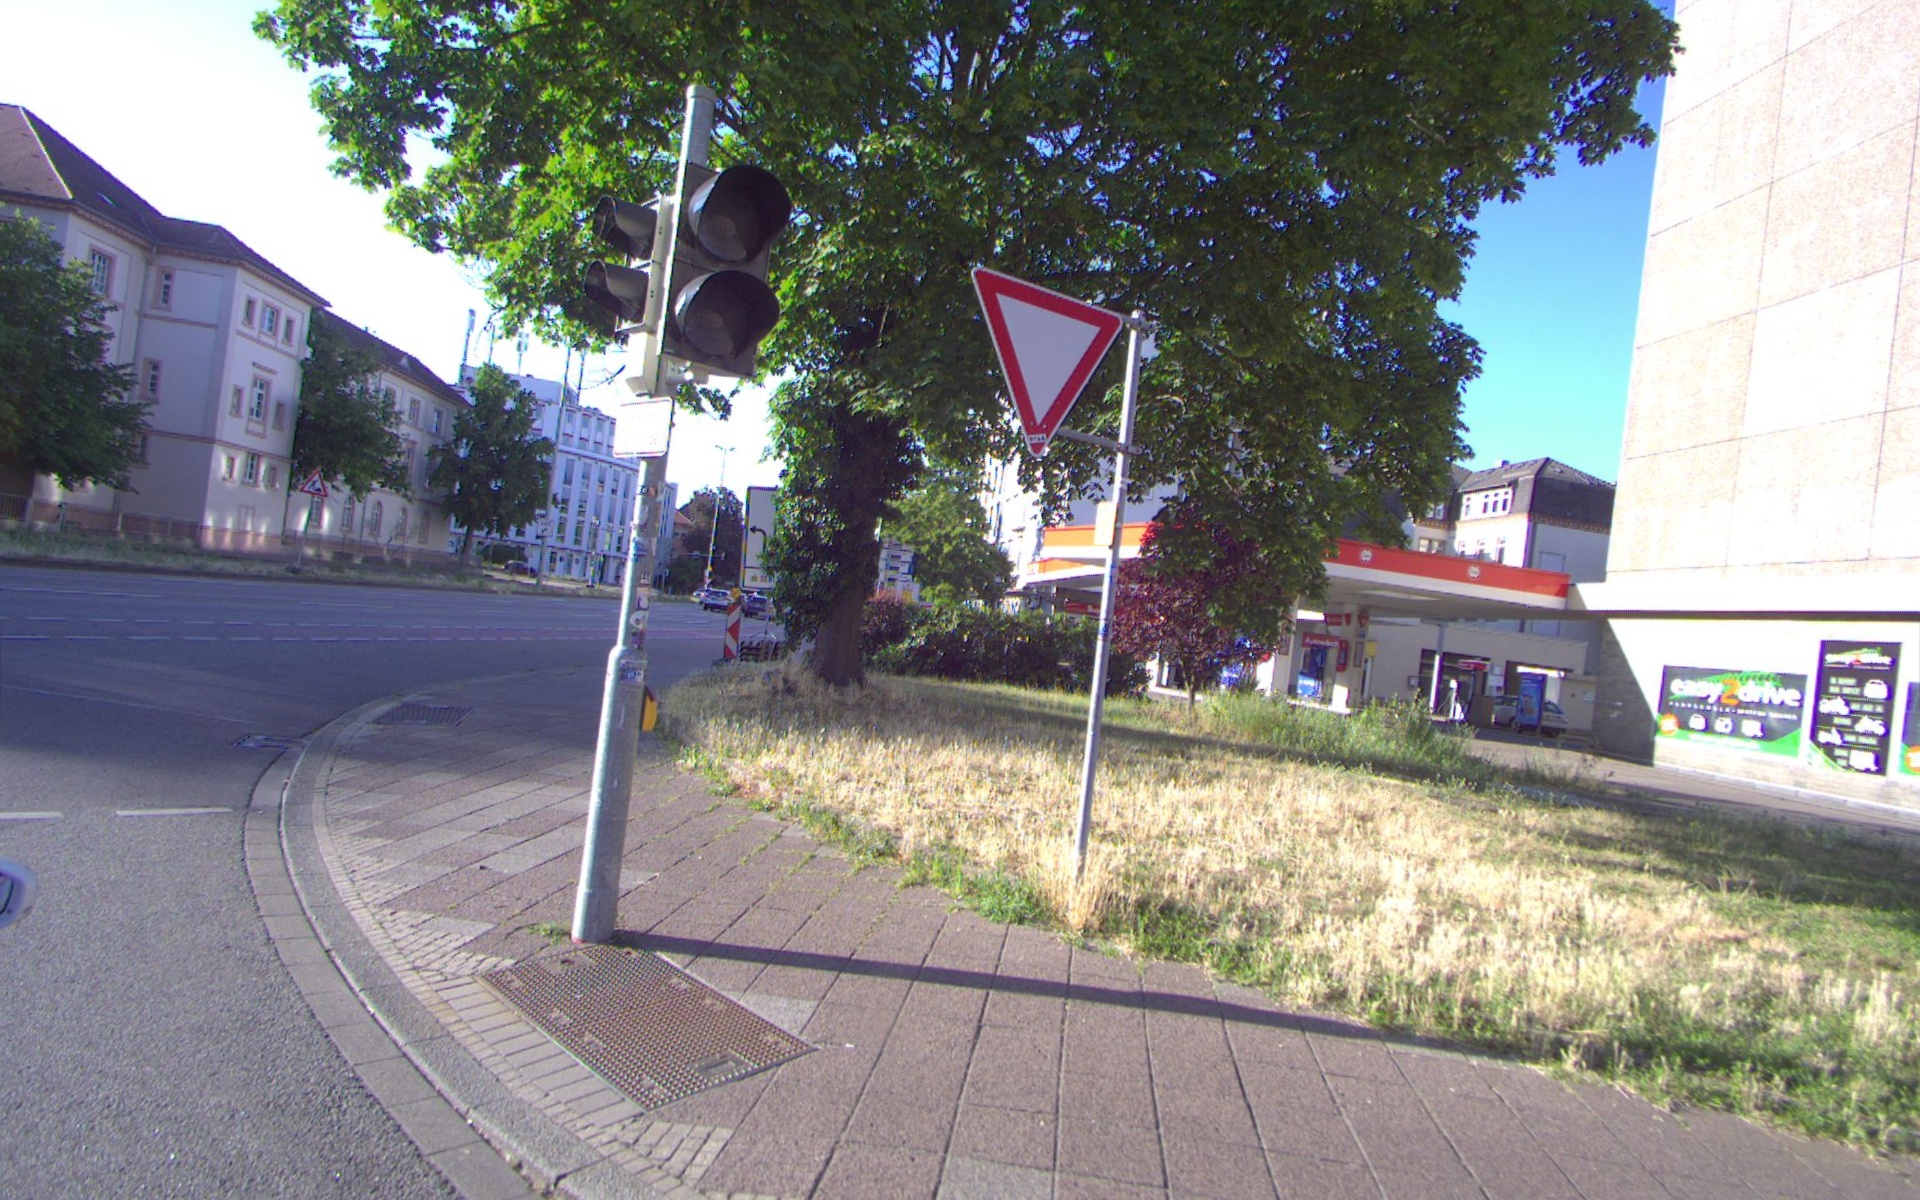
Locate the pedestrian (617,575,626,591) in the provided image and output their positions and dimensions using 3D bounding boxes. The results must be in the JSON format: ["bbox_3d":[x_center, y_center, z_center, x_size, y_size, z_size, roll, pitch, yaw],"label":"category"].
[{"bbox_3d":[-40.232,-1.993,119.626,0.749,1.864,0.816,7,0,-16],"label":"pedestrian"}]

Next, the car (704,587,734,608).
[{"bbox_3d":[-20.145,-0.218,84.220,1.661,1.474,3.998,8,-1,-5],"label":"car"}]

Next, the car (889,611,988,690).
[{"bbox_3d":[-0.439,1.225,24.936,1.671,1.592,4.004,7,-1,8],"label":"car"}]

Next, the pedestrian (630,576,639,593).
[{"bbox_3d":[-38.893,-1.878,120.333,0.651,1.890,0.778,7,0,-7],"label":"pedestrian"}]

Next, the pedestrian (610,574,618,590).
[{"bbox_3d":[-41.140,-2.112,119.459,0.652,1.881,0.775,7,0,-18],"label":"pedestrian"}]

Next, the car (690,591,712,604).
[{"bbox_3d":[-34.047,-0.307,132.280,1.964,1.430,4.441,7,-1,-5],"label":"car"}]

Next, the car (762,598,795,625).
[{"bbox_3d":[-12.679,0.827,70.453,1.729,1.506,3.725,6,-3,-3],"label":"car"}]

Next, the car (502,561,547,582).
[{"bbox_3d":[-44.145,-2.888,102.082,3.755,1.547,1.862,6,-3,-9],"label":"car"}]

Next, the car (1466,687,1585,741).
[{"bbox_3d":[21.808,4.375,38.981,1.721,1.437,4.253,7,-1,-6],"label":"car"}]

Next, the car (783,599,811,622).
[{"bbox_3d":[-13.394,0.887,82.929,1.702,1.597,3.722,7,-1,-3],"label":"car"}]

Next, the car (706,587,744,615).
[{"bbox_3d":[-15.583,0.060,66.753,1.723,1.582,4.047,7,-1,-5],"label":"car"}]

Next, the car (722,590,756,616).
[{"bbox_3d":[-16.142,0.234,73.567,1.723,1.582,4.047,7,-1,-5],"label":"car"}]

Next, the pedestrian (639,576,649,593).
[{"bbox_3d":[-37.778,-1.833,120.379,0.617,1.890,1.127,7,0,0],"label":"pedestrian"}]

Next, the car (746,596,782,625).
[{"bbox_3d":[-12.685,0.687,65.225,1.723,1.582,4.047,7,-1,-5],"label":"car"}]

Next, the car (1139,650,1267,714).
[{"bbox_3d":[7.900,2.653,33.076,1.975,1.371,3.975,8,1,-24],"label":"car"}]

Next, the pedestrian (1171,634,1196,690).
[{"bbox_3d":[7.092,1.975,31.952,0.415,1.726,0.418,7,0,-24],"label":"pedestrian"}]
